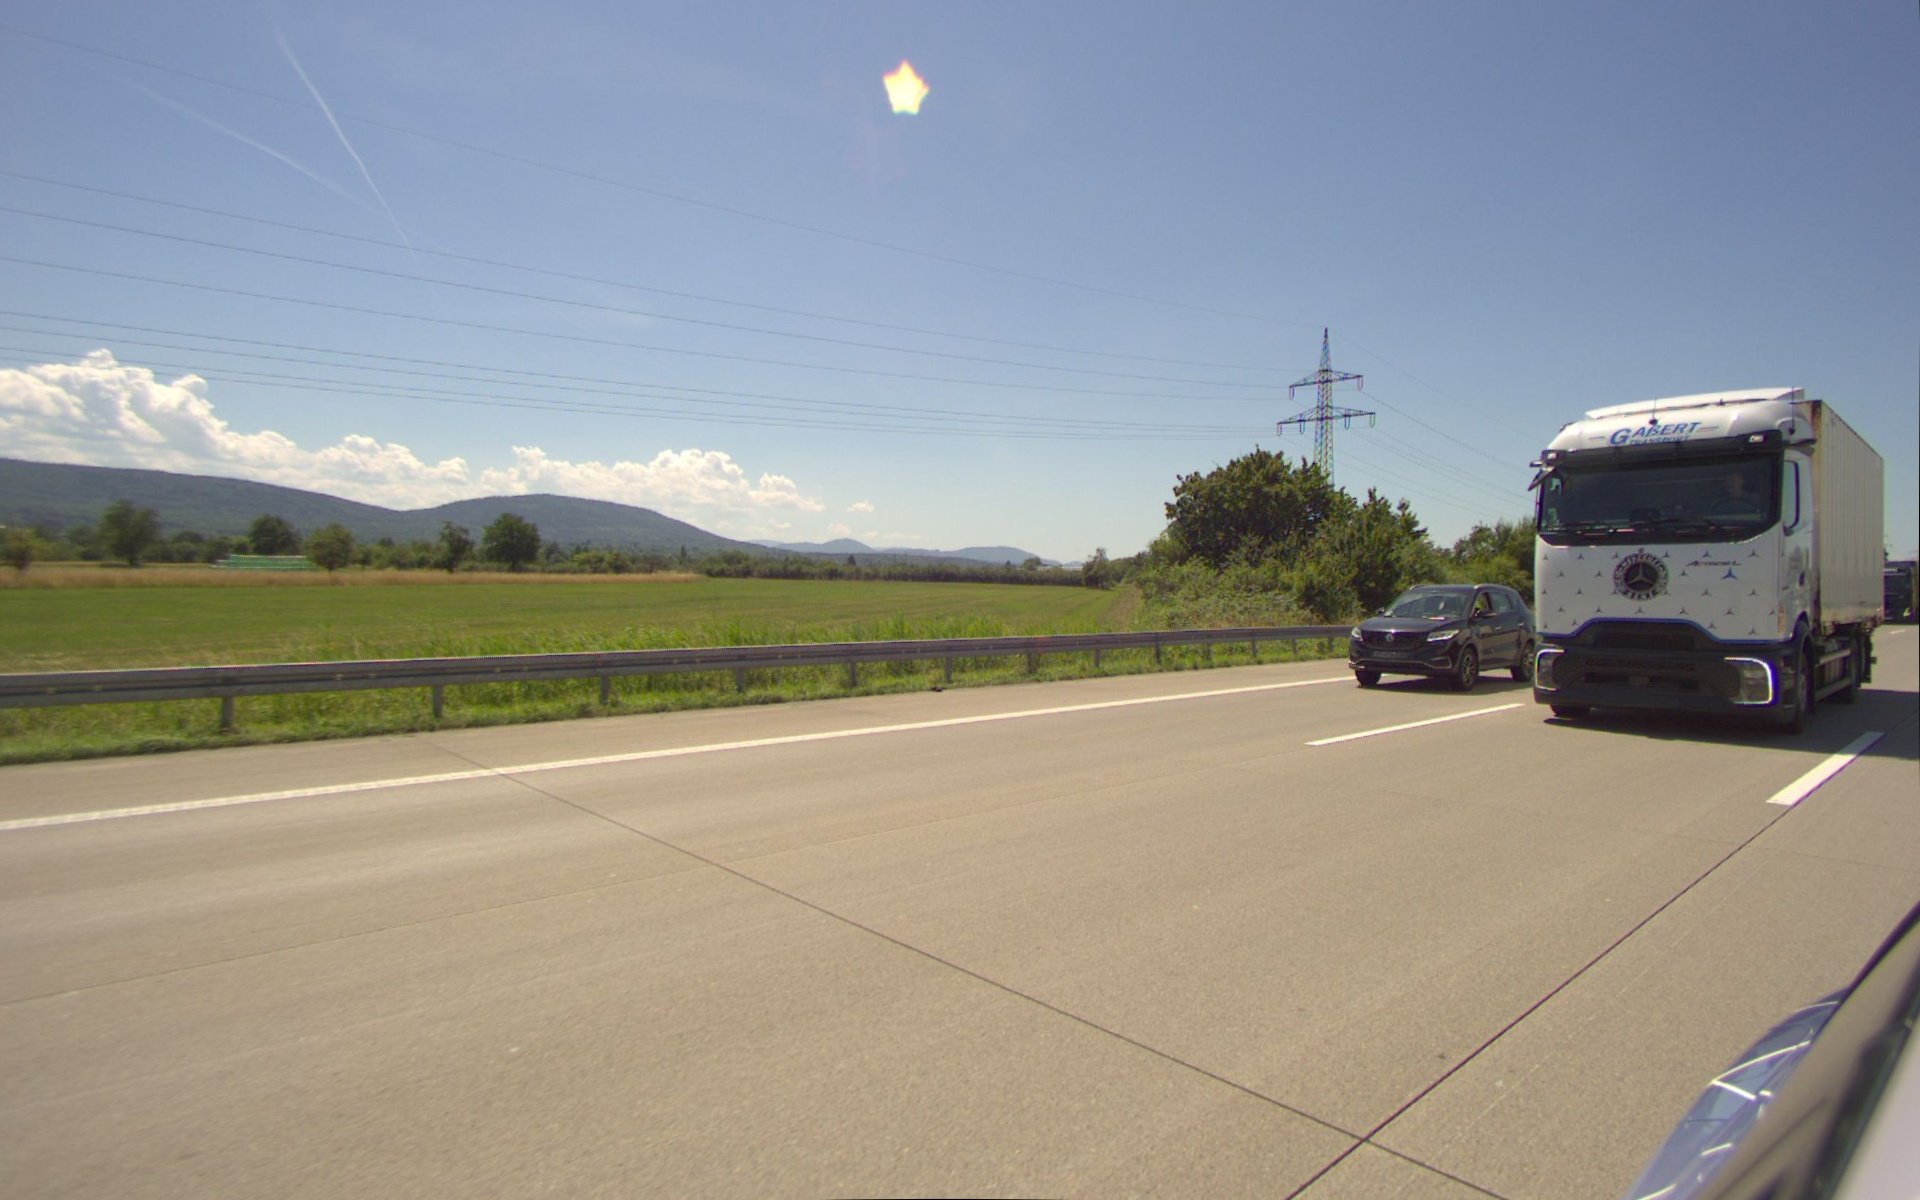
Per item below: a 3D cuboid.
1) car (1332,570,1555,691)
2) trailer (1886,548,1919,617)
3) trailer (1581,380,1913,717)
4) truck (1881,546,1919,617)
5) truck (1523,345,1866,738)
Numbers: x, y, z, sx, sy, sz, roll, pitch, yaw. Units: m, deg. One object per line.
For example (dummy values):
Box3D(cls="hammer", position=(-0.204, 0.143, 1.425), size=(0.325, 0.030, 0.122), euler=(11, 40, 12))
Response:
Box3D(cls="car", position=(8.290, 0.452, 17.237), size=(3.929, 1.805, 1.997), euler=(0, 0, -40))
Box3D(cls="trailer", position=(64.193, -1.132, 67.693), size=(14.493, 4.246, 1.996), euler=(0, 0, -42))
Box3D(cls="trailer", position=(13.018, -0.624, 16.212), size=(10.198, 3.927, 2.583), euler=(0, 0, -43))
Box3D(cls="truck", position=(59.110, -1.104, 63.073), size=(5.608, 4.246, 1.996), euler=(0, 0, -42))
Box3D(cls="truck", position=(9.366, -0.599, 12.744), size=(4.900, 3.927, 2.583), euler=(0, 0, -43))
